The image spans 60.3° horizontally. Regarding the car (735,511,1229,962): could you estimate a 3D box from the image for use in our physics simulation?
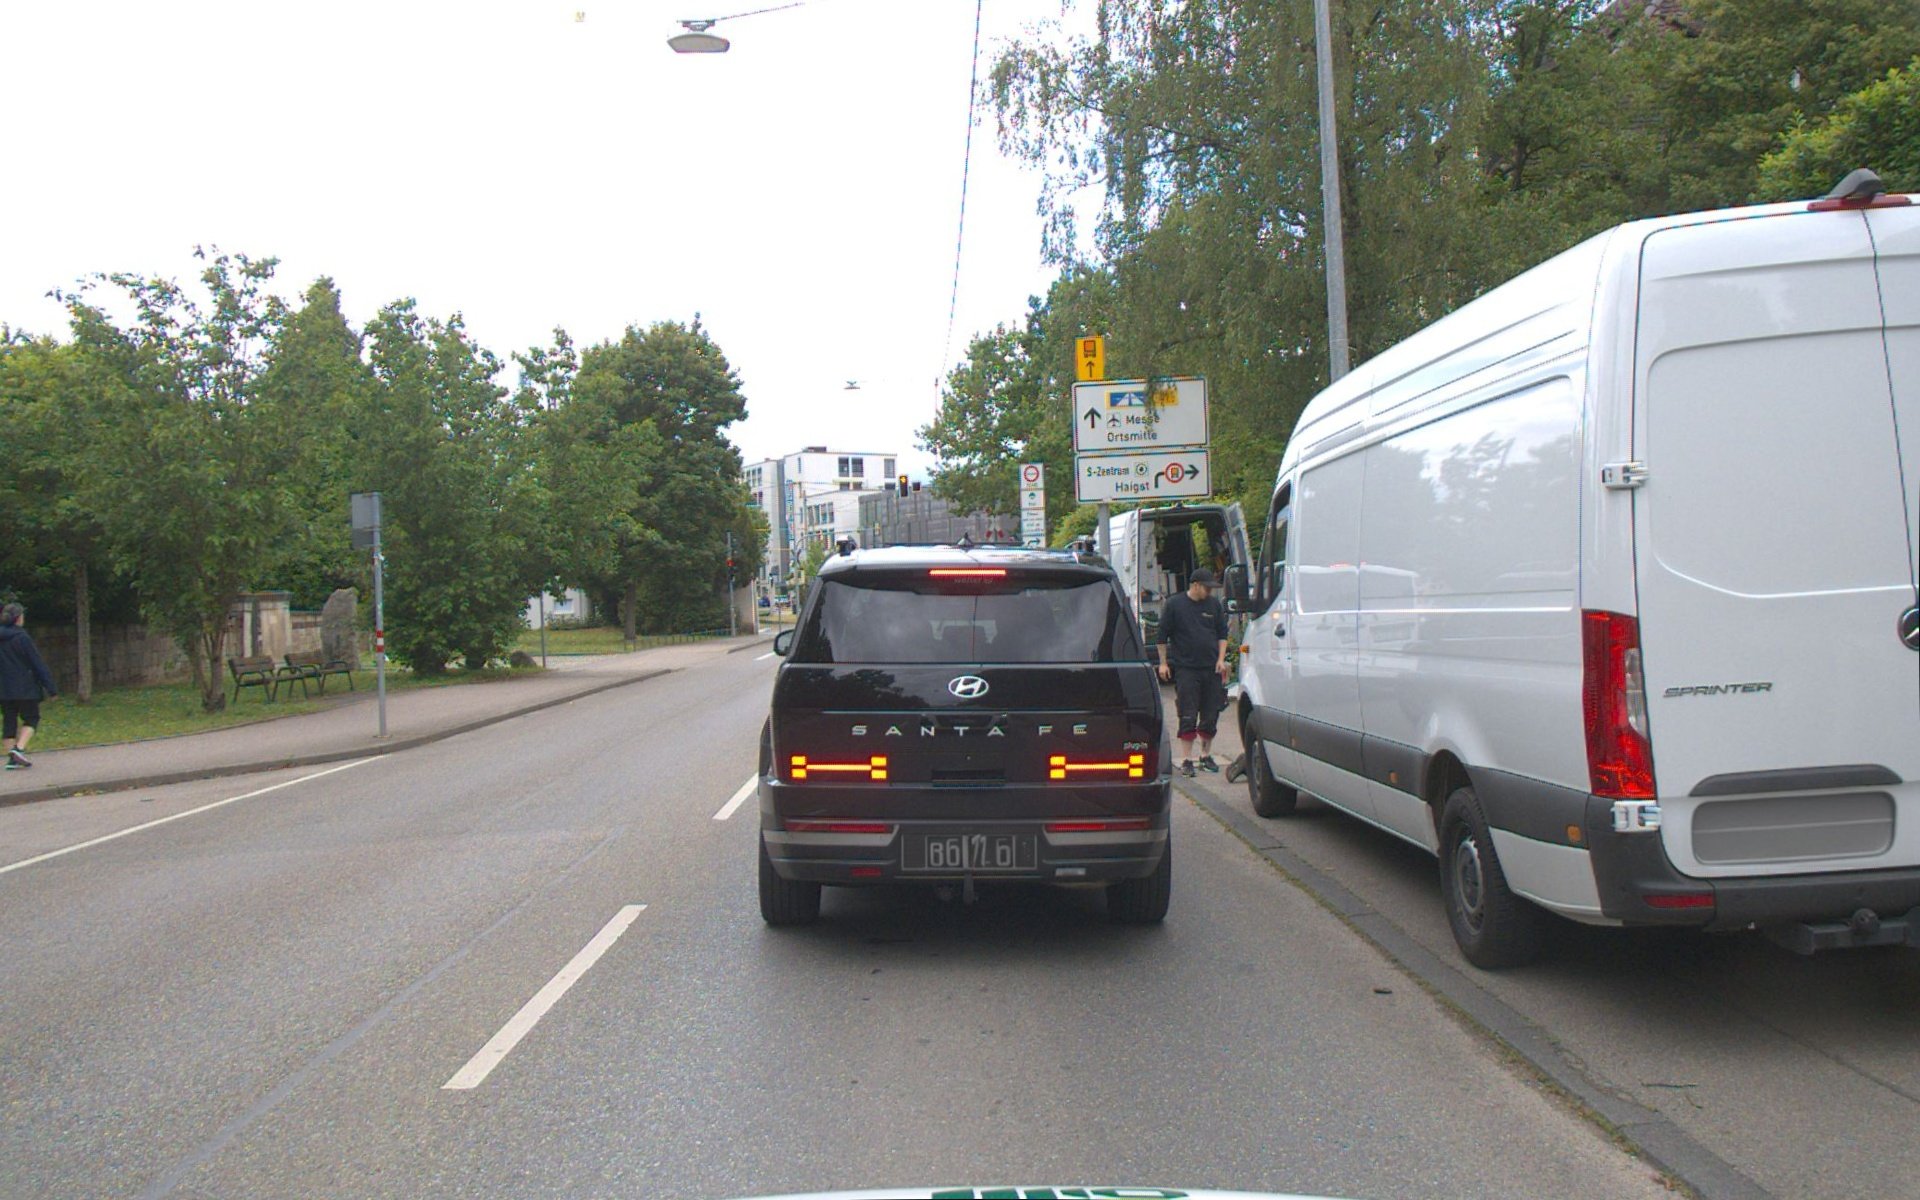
[{"bbox_3d":[0.038,0.526,8.504,1.924,1.741,3.999,-1,0,-2],"label":"car"}]

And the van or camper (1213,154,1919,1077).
[{"bbox_3d":[2.861,-0.005,8.103,1.924,2.673,6.356,-4,0,-2],"label":"van or camper"}]

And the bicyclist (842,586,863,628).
[{"bbox_3d":[-4.433,0.289,68.332,0.839,1.688,0.676,0,-2,-5],"label":"bicyclist"}]

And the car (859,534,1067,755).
[{"bbox_3d":[-0.028,0.409,17.500,1.924,2.036,3.999,-1,0,-2],"label":"car"}]

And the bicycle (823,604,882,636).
[{"bbox_3d":[-4.441,0.825,68.309,2.444,1.302,0.676,0,-2,-5],"label":"bicycle"}]

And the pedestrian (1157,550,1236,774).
[{"bbox_3d":[1.931,0.501,13.457,0.590,1.774,0.620,-1,-2,11],"label":"pedestrian"}]

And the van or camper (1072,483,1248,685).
[{"bbox_3d":[3.120,-0.247,26.936,1.924,2.845,5.285,-4,0,-2],"label":"van or camper"}]

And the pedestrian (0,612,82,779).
[{"bbox_3d":[-9.437,0.937,16.587,0.733,1.605,0.966,-1,0,-1],"label":"pedestrian"}]
